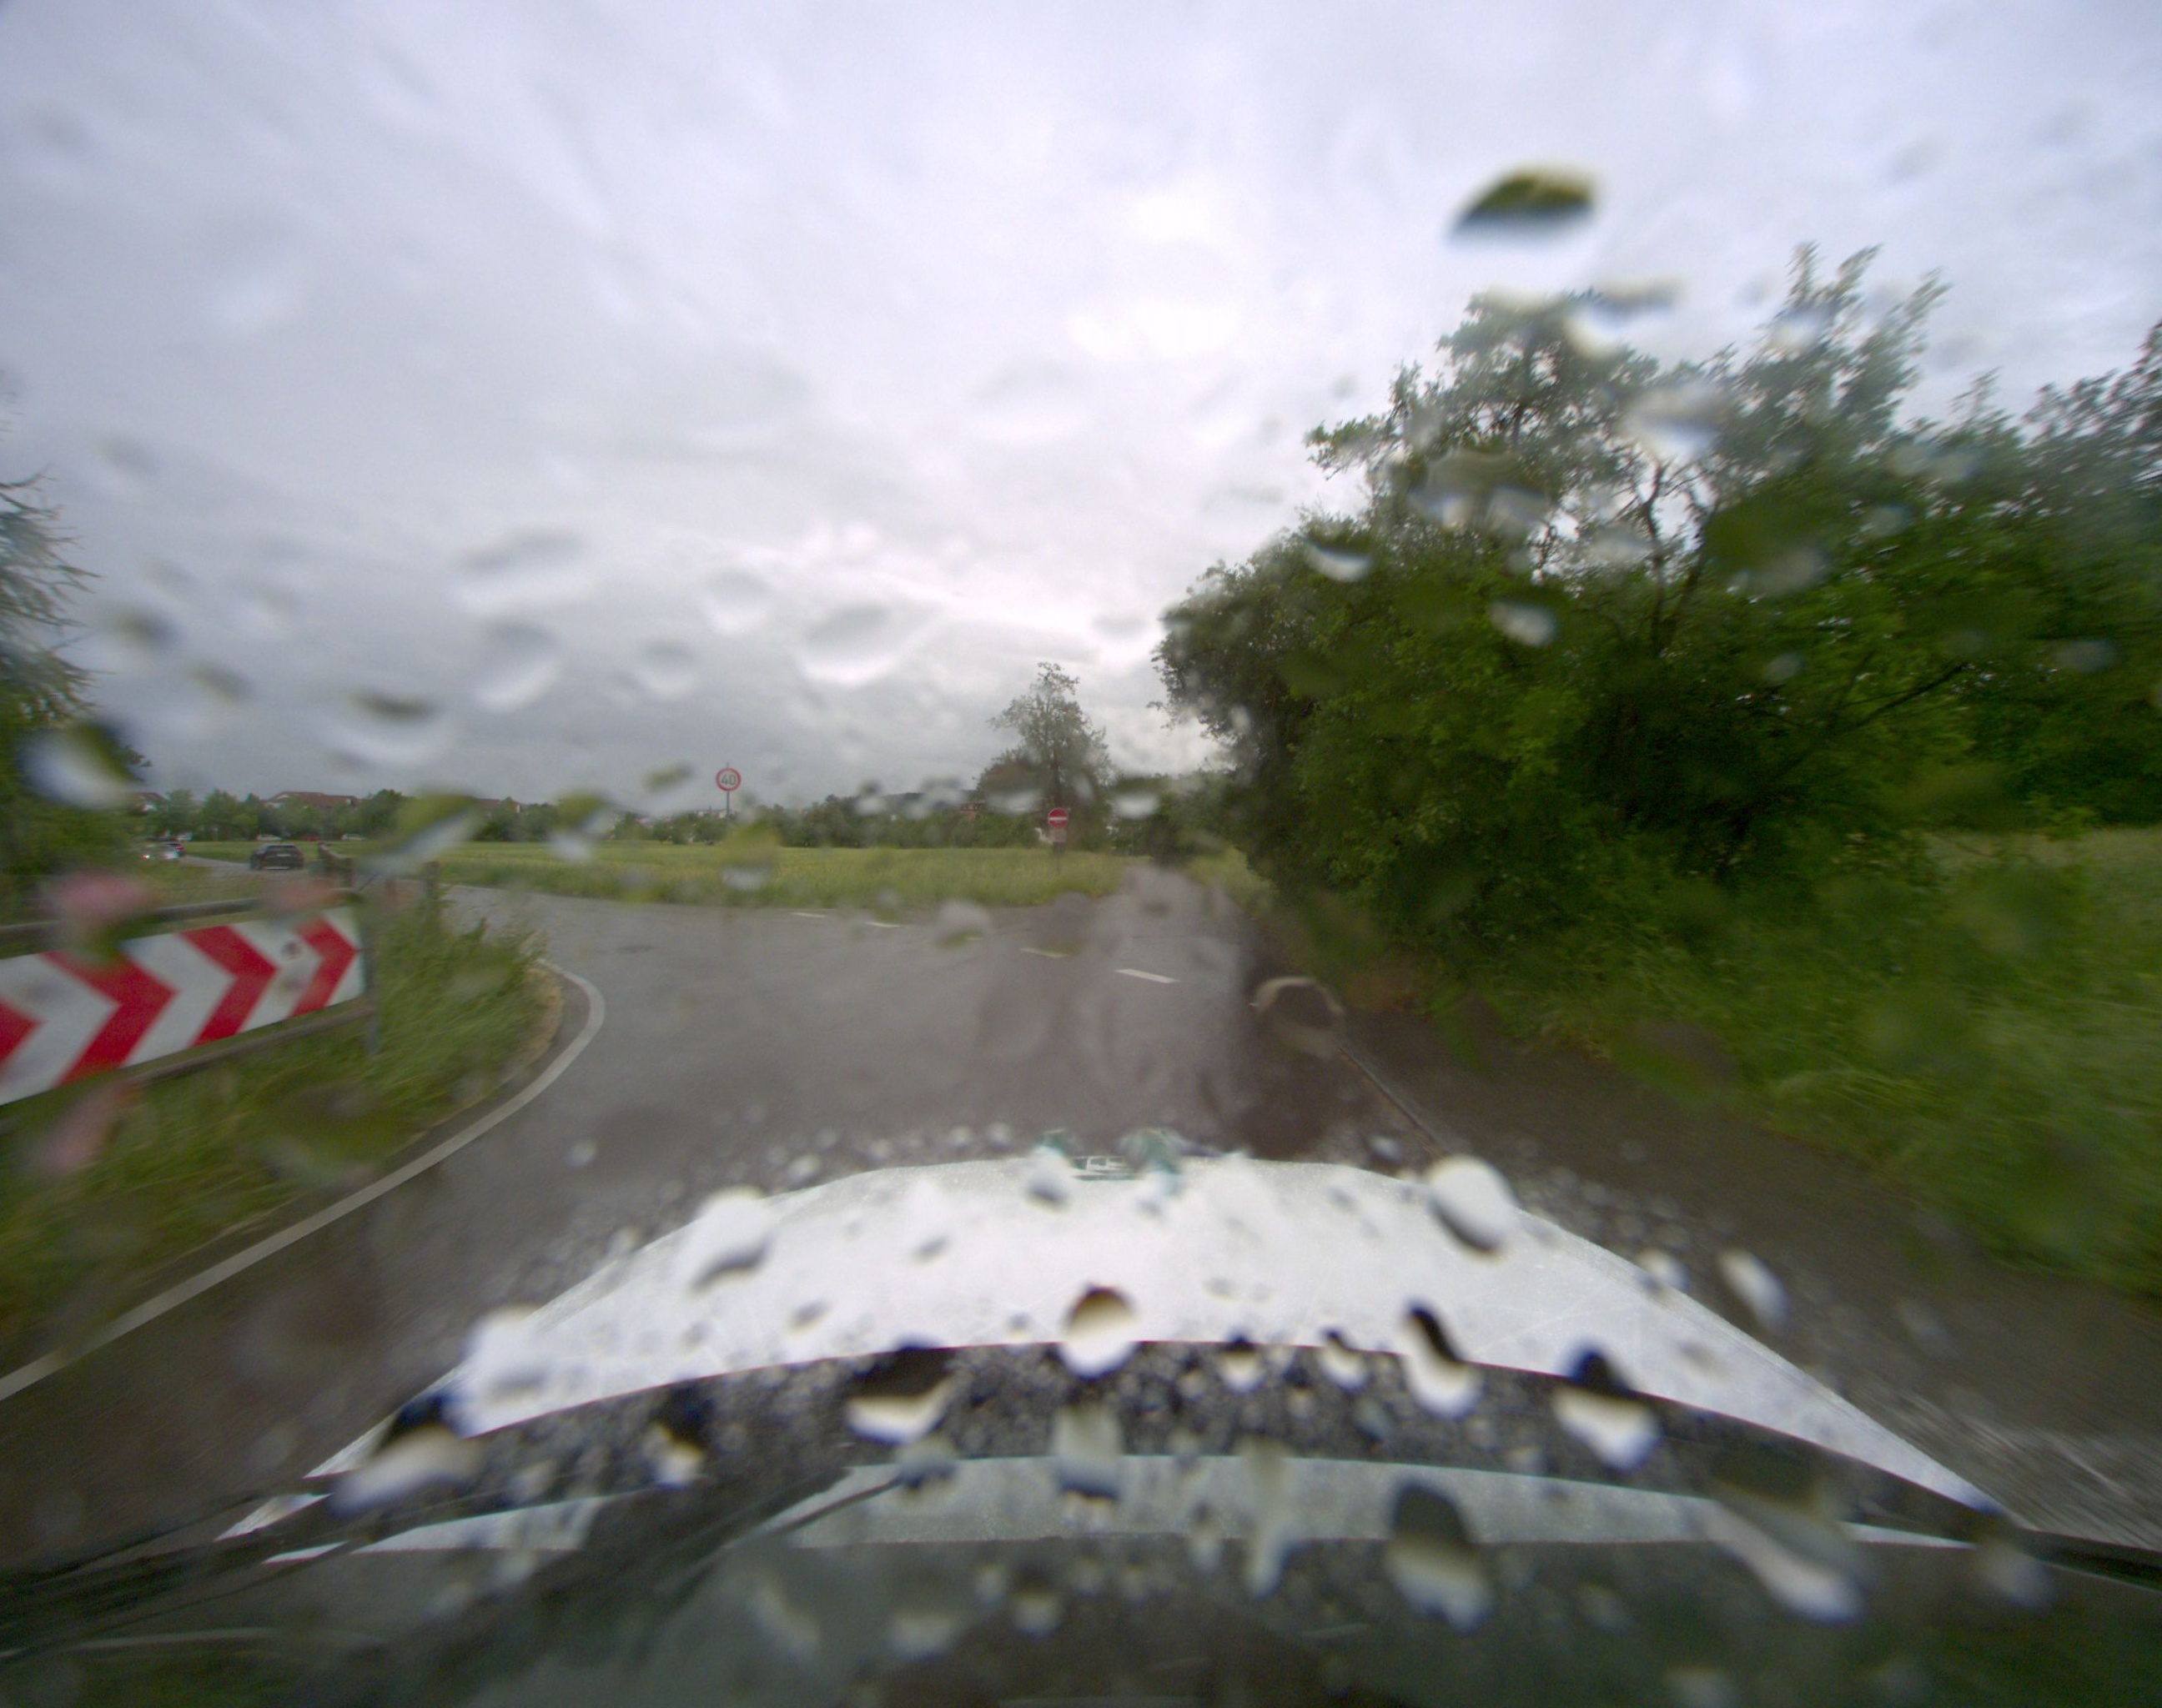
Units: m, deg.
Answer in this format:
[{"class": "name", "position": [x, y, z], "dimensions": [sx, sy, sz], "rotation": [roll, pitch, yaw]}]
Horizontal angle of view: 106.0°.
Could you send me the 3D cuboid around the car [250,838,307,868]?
[{"class": "car", "position": [-44.879, -0.042, 45.517], "dimensions": [3.948, 1.593, 1.832], "rotation": [-1, 1, 39]}]
